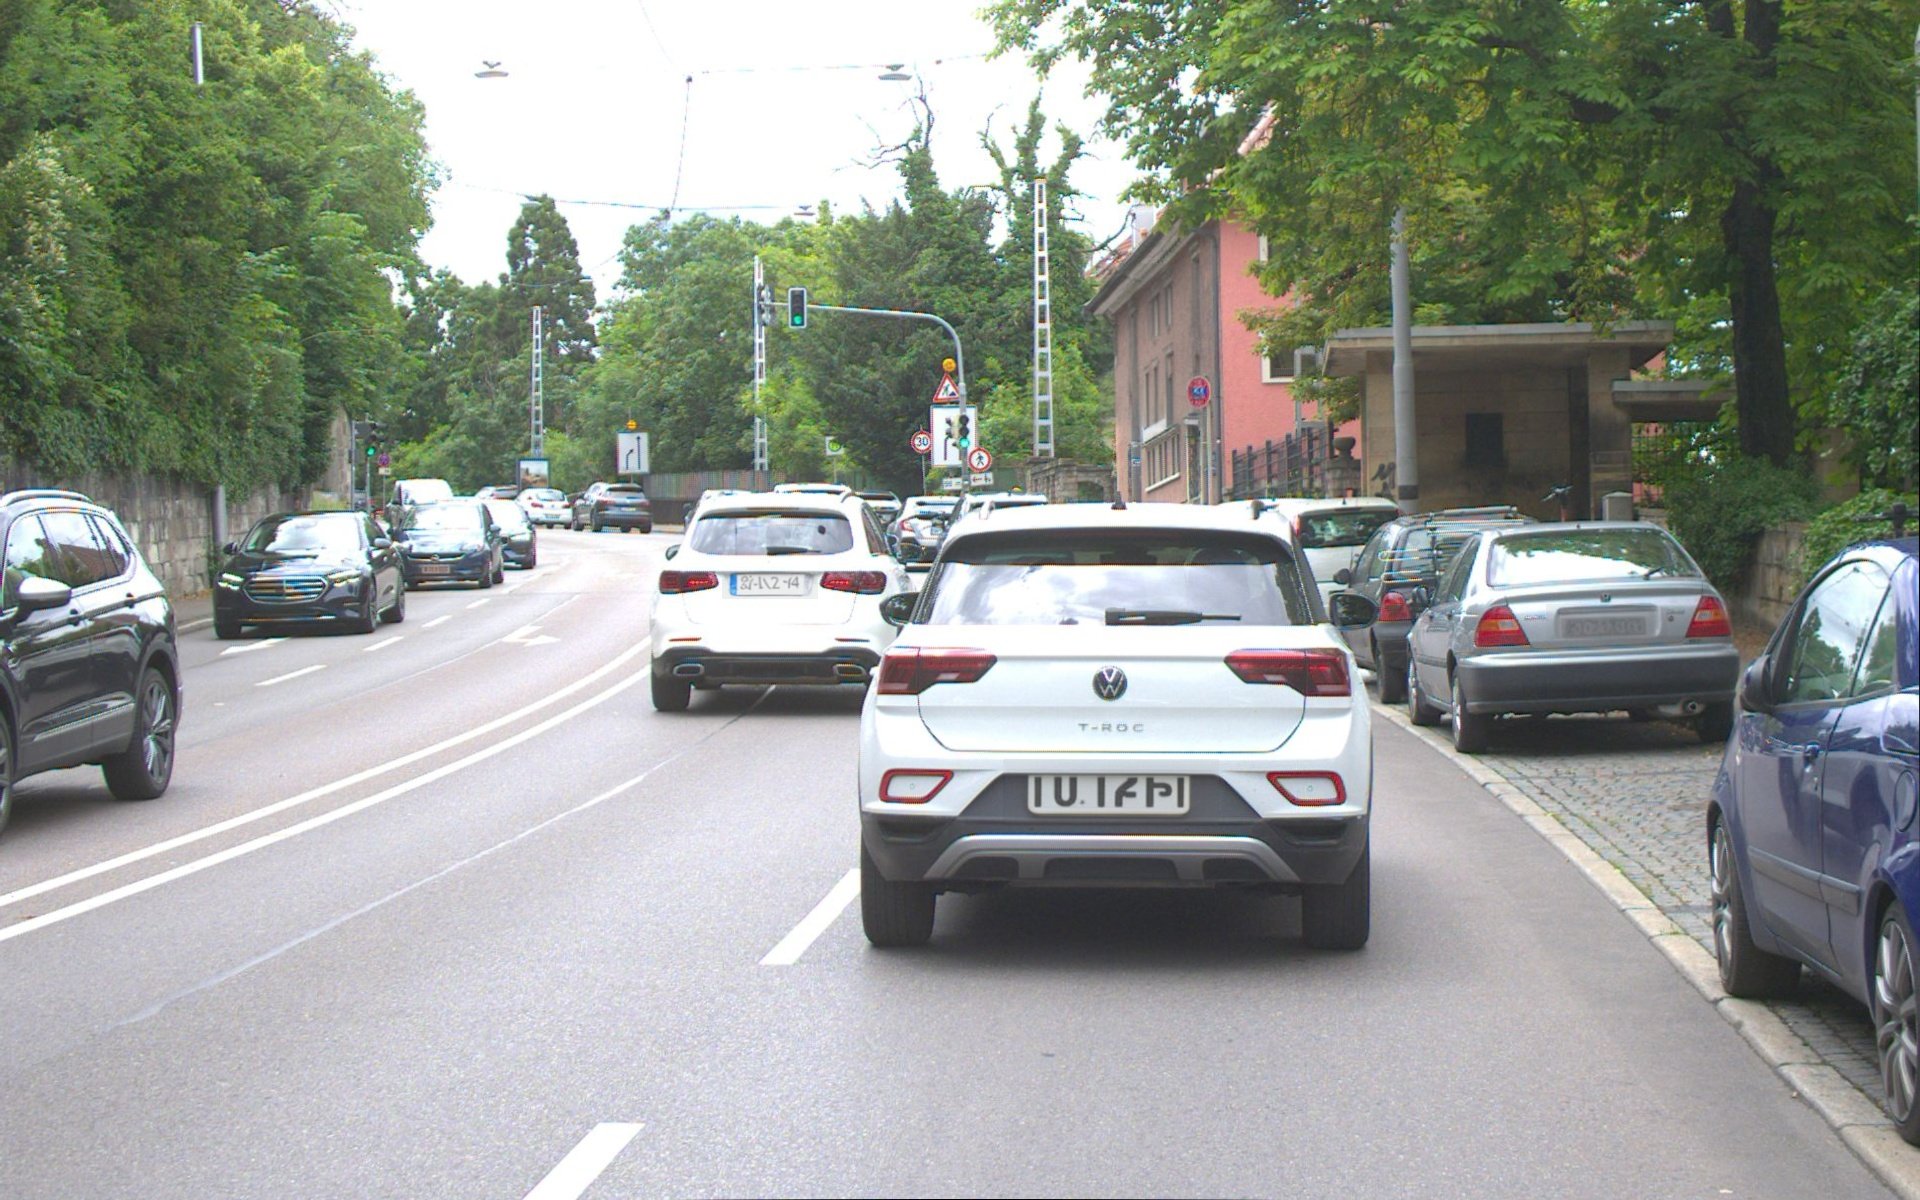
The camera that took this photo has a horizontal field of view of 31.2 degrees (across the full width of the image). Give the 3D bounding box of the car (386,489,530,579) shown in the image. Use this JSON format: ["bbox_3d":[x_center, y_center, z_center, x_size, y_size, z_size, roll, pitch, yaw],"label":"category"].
[{"bbox_3d":[-8.486,-1.143,58.423,1.842,1.431,4.001,-1,2,0],"label":"car"}]

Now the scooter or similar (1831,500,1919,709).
[{"bbox_3d":[6.122,0.002,22.083,0.561,1.240,1.999,-6,1,4],"label":"scooter or similar"}]

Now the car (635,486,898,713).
[{"bbox_3d":[-1.431,-0.041,26.665,1.758,1.604,3.796,1,1,1],"label":"car"}]

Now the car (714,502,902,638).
[{"bbox_3d":[-1.731,-0.377,40.476,1.993,1.484,4.151,-1,1,0],"label":"car"}]

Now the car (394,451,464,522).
[{"bbox_3d":[-16.210,-3.475,104.893,1.892,1.841,4.399,-2,6,-11],"label":"car"}]

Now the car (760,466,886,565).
[{"bbox_3d":[-2.265,-1.429,57.035,1.993,1.551,4.151,1,2,-2],"label":"car"}]

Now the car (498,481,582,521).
[{"bbox_3d":[-15.621,-3.682,127.744,1.993,1.445,4.152,-1,1,-23],"label":"car"}]

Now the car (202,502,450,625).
[{"bbox_3d":[-7.783,-0.494,42.681,2.002,1.404,4.755,-1,2,2],"label":"car"}]

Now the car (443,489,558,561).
[{"bbox_3d":[-9.470,-1.574,71.150,1.842,1.404,4.456,-2,2,-1],"label":"car"}]

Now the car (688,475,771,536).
[{"bbox_3d":[-5.651,-2.314,84.073,1.780,1.449,4.001,0,1,-7],"label":"car"}]

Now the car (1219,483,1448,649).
[{"bbox_3d":[3.792,-0.402,35.479,1.715,1.466,4.039,-4,3,-2],"label":"car"}]

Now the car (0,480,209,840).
[{"bbox_3d":[-5.272,0.269,17.052,1.848,1.646,4.624,-2,1,3],"label":"car"}]

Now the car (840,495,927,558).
[{"bbox_3d":[-1.854,-1.758,82.320,1.993,1.445,4.151,0,1,-3],"label":"car"}]

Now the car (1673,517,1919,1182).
[{"bbox_3d":[3.010,0.502,9.187,1.598,1.455,3.941,-2,1,4],"label":"car"}]

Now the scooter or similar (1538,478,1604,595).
[{"bbox_3d":[6.848,-0.722,38.561,0.517,1.256,1.168,-3,2,3],"label":"scooter or similar"}]

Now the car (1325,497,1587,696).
[{"bbox_3d":[3.950,-0.073,27.833,1.561,1.417,3.424,-3,2,0],"label":"car"}]

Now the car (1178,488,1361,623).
[{"bbox_3d":[3.641,-0.572,41.079,1.675,1.456,4.366,-2,2,-1],"label":"car"}]

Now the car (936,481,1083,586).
[{"bbox_3d":[0.690,-0.954,49.211,1.993,1.409,4.151,-1,1,0],"label":"car"}]

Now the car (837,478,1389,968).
[{"bbox_3d":[0.641,0.357,13.045,1.758,1.550,3.795,1,1,5],"label":"car"}]

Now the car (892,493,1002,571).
[{"bbox_3d":[-0.282,-1.303,65.644,1.993,1.445,4.151,0,1,-2],"label":"car"}]

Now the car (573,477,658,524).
[{"bbox_3d":[-11.656,-3.342,116.077,1.993,1.569,4.152,-1,1,-19],"label":"car"}]

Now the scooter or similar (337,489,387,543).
[{"bbox_3d":[-14.304,-2.008,82.300,0.434,1.233,1.096,5,1,38],"label":"scooter or similar"}]

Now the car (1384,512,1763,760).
[{"bbox_3d":[3.859,0.157,22.341,1.770,1.394,4.551,-2,1,2],"label":"car"}]
